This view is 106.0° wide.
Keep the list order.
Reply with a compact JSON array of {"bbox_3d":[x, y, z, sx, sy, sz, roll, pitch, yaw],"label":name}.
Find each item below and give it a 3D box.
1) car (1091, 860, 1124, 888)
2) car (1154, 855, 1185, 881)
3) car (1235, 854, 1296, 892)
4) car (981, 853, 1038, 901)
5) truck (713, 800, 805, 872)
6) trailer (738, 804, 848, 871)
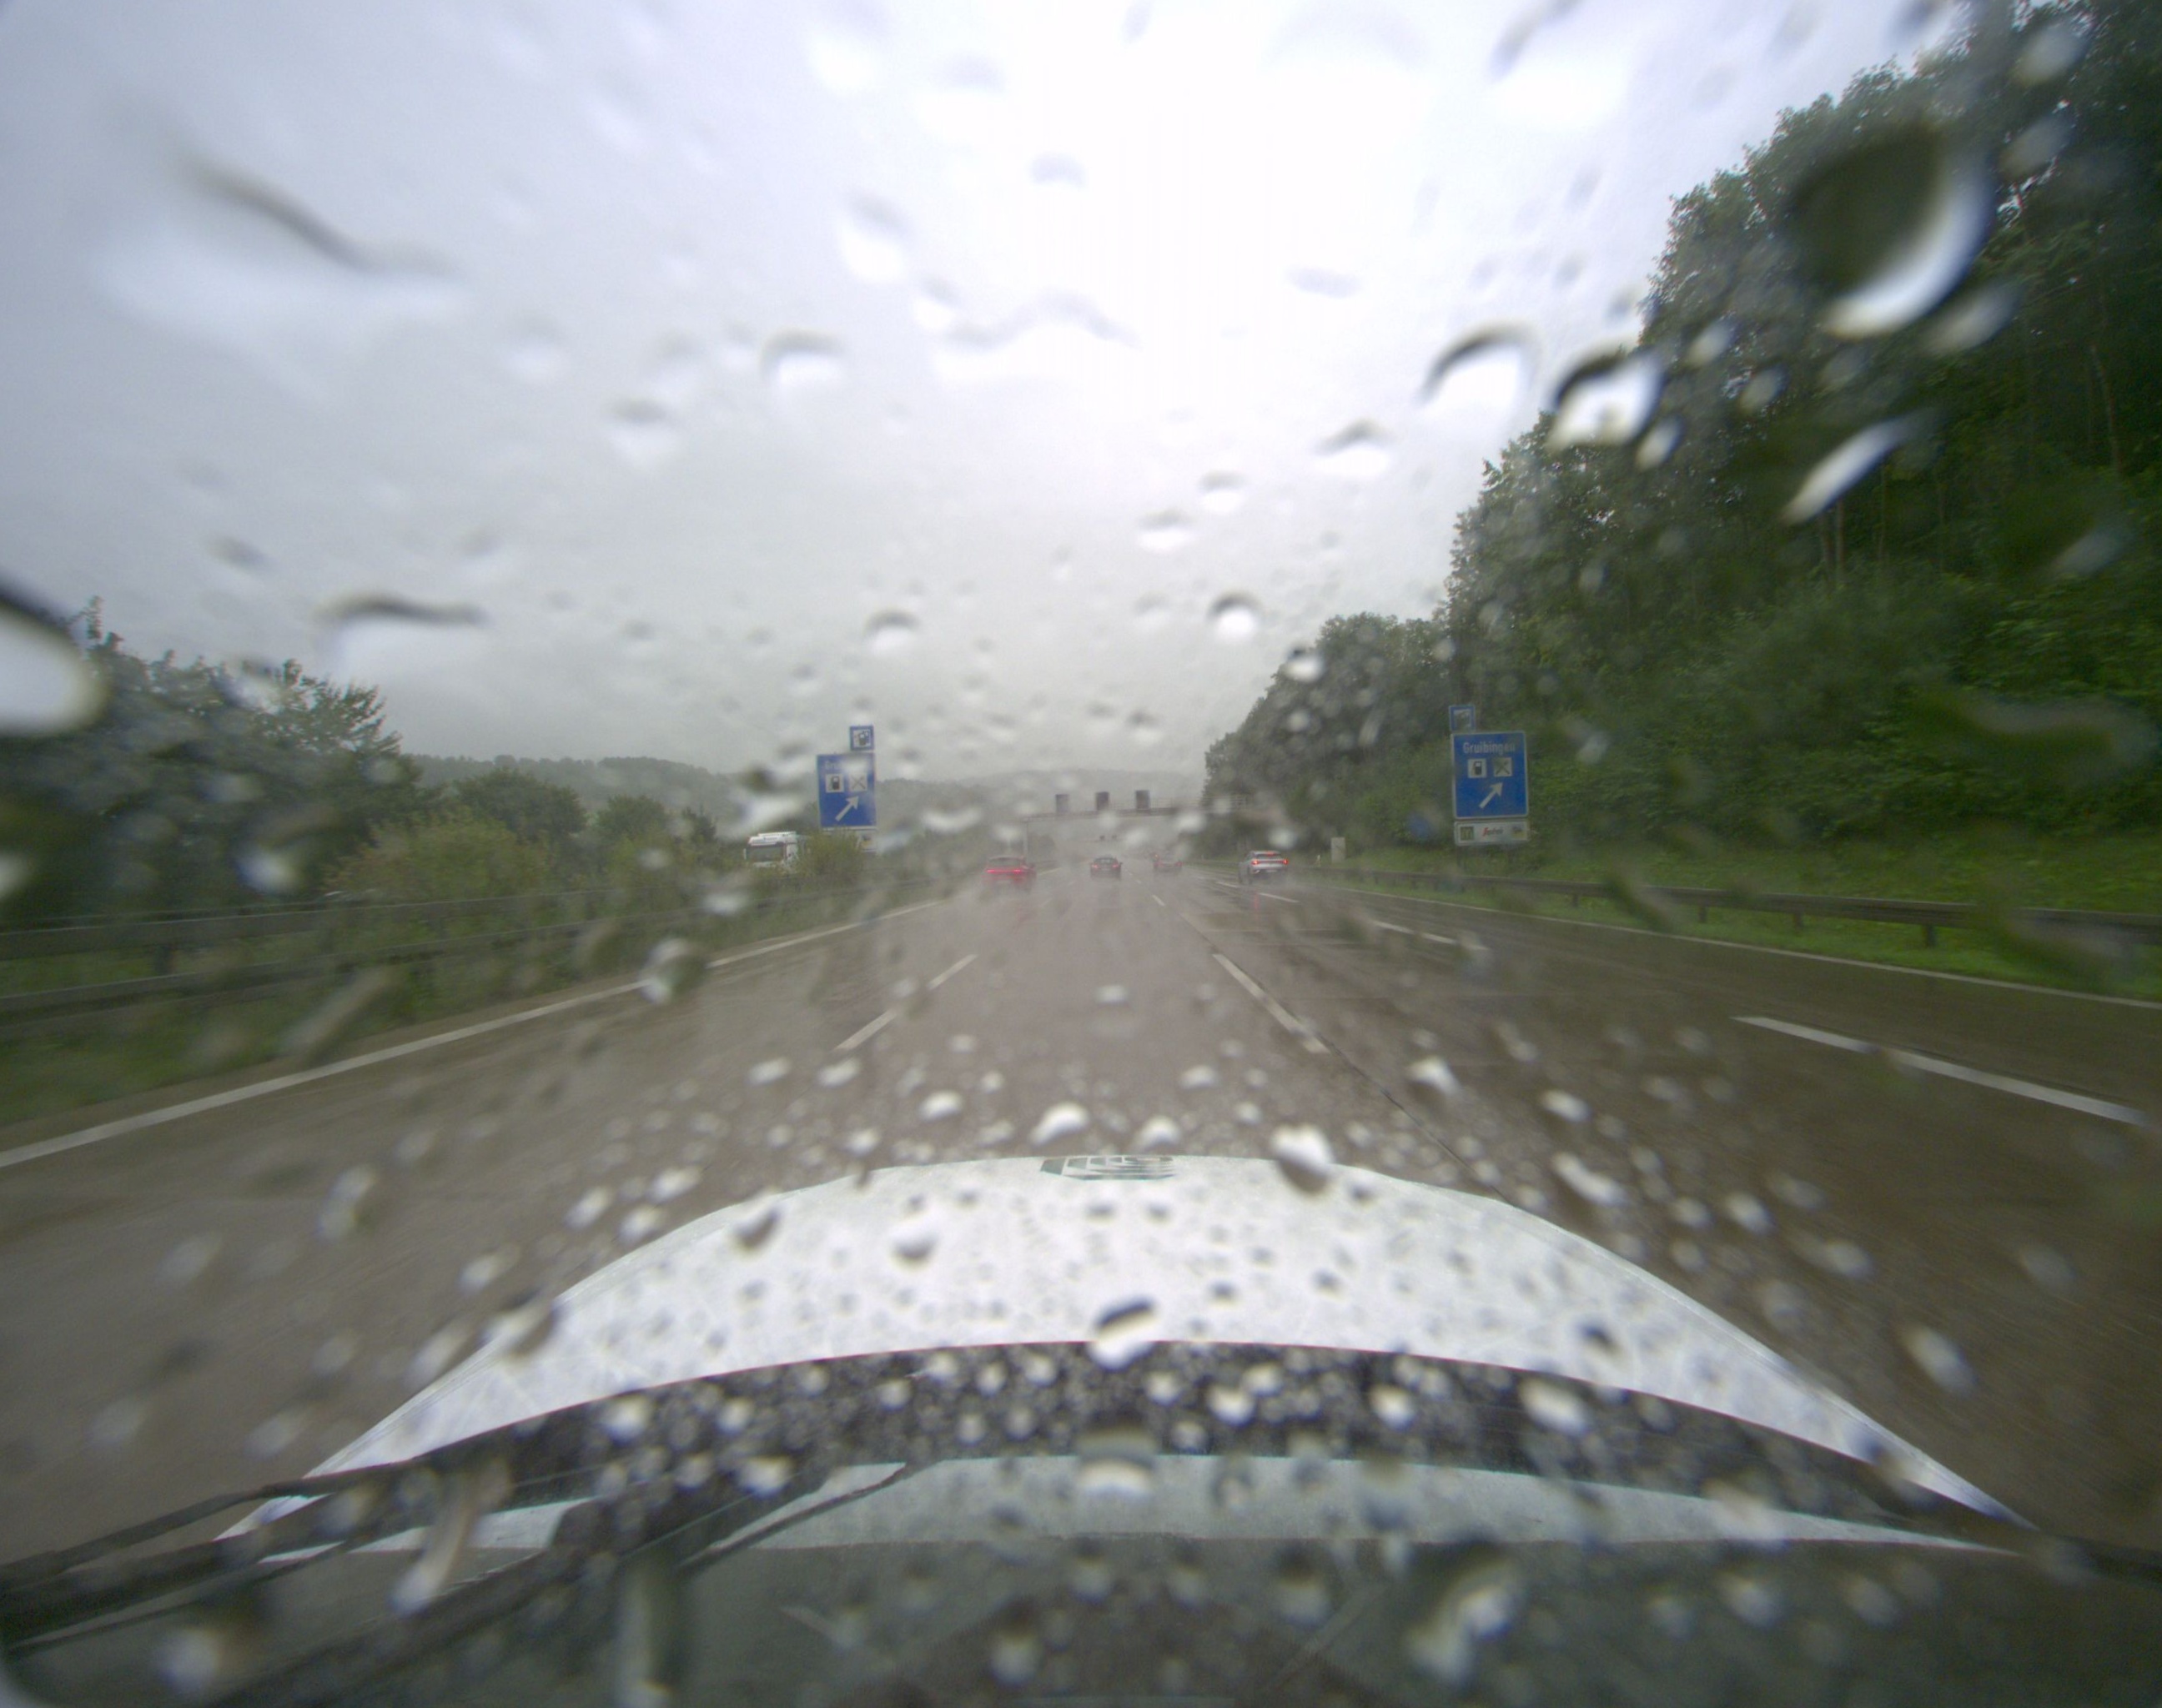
[{"bbox_3d":[1.571,1.126,47.908,1.852,1.589,4.002,0,0,2],"label":"car"},{"bbox_3d":[6.413,0.959,59.236,1.964,1.760,4.002,-1,0,2],"label":"car"},{"bbox_3d":[9.106,0.893,40.691,1.986,1.750,5.665,0,0,2],"label":"car"},{"bbox_3d":[-2.854,0.875,33.199,1.878,1.816,4.001,-1,0,1],"label":"car"},{"bbox_3d":[-19.847,-1.051,50.593,3.361,4.184,5.520,-1,0,1],"label":"truck"},{"bbox_3d":[-19.707,-1.024,56.780,3.343,4.173,11.405,-1,0,1],"label":"trailer"}]
